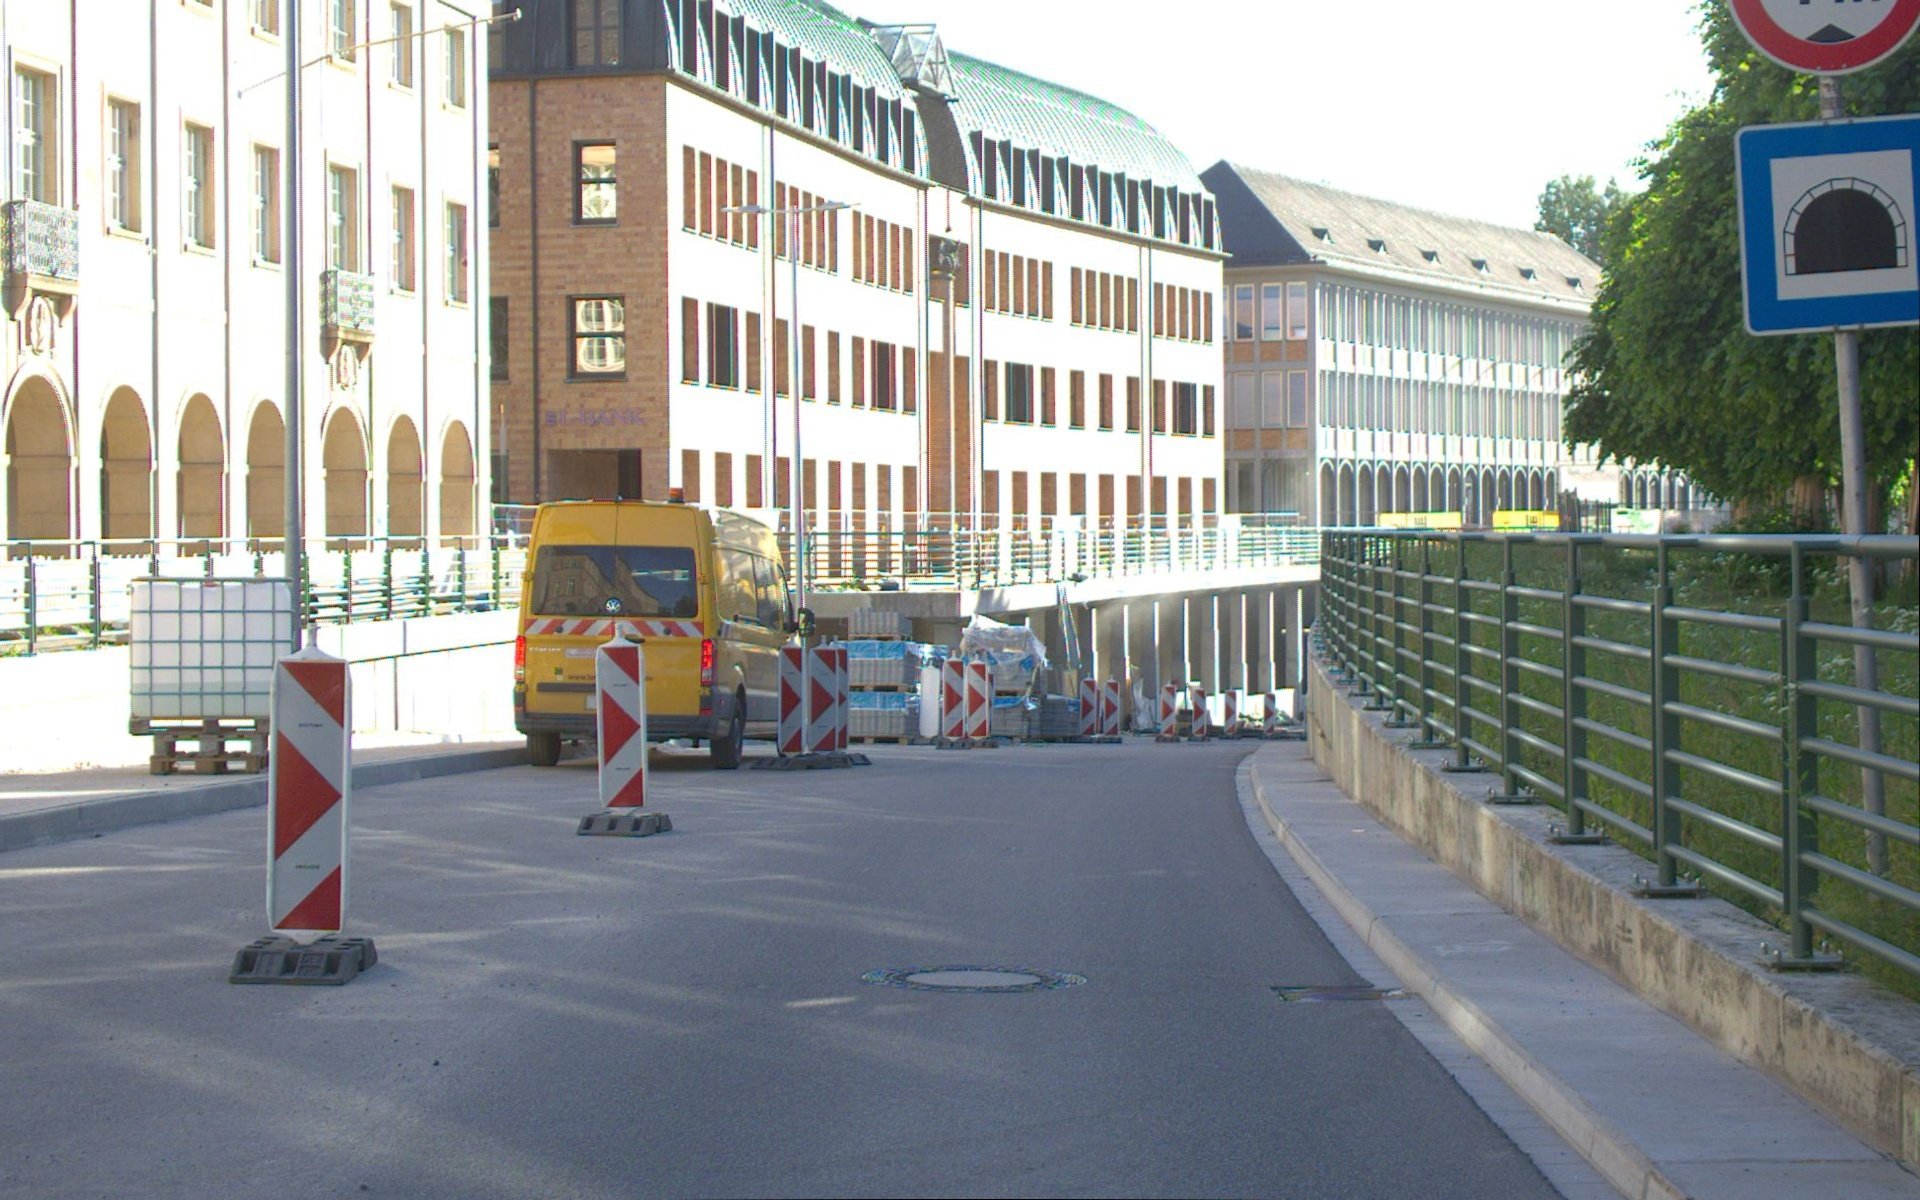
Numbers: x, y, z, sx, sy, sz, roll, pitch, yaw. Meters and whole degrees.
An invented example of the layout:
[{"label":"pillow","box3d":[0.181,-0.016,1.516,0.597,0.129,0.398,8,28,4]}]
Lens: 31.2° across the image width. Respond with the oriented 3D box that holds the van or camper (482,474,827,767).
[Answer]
[{"label":"van or camper","box3d":[-2.937,0.262,34.923,2.194,2.604,6.822,2,-1,5]}]
